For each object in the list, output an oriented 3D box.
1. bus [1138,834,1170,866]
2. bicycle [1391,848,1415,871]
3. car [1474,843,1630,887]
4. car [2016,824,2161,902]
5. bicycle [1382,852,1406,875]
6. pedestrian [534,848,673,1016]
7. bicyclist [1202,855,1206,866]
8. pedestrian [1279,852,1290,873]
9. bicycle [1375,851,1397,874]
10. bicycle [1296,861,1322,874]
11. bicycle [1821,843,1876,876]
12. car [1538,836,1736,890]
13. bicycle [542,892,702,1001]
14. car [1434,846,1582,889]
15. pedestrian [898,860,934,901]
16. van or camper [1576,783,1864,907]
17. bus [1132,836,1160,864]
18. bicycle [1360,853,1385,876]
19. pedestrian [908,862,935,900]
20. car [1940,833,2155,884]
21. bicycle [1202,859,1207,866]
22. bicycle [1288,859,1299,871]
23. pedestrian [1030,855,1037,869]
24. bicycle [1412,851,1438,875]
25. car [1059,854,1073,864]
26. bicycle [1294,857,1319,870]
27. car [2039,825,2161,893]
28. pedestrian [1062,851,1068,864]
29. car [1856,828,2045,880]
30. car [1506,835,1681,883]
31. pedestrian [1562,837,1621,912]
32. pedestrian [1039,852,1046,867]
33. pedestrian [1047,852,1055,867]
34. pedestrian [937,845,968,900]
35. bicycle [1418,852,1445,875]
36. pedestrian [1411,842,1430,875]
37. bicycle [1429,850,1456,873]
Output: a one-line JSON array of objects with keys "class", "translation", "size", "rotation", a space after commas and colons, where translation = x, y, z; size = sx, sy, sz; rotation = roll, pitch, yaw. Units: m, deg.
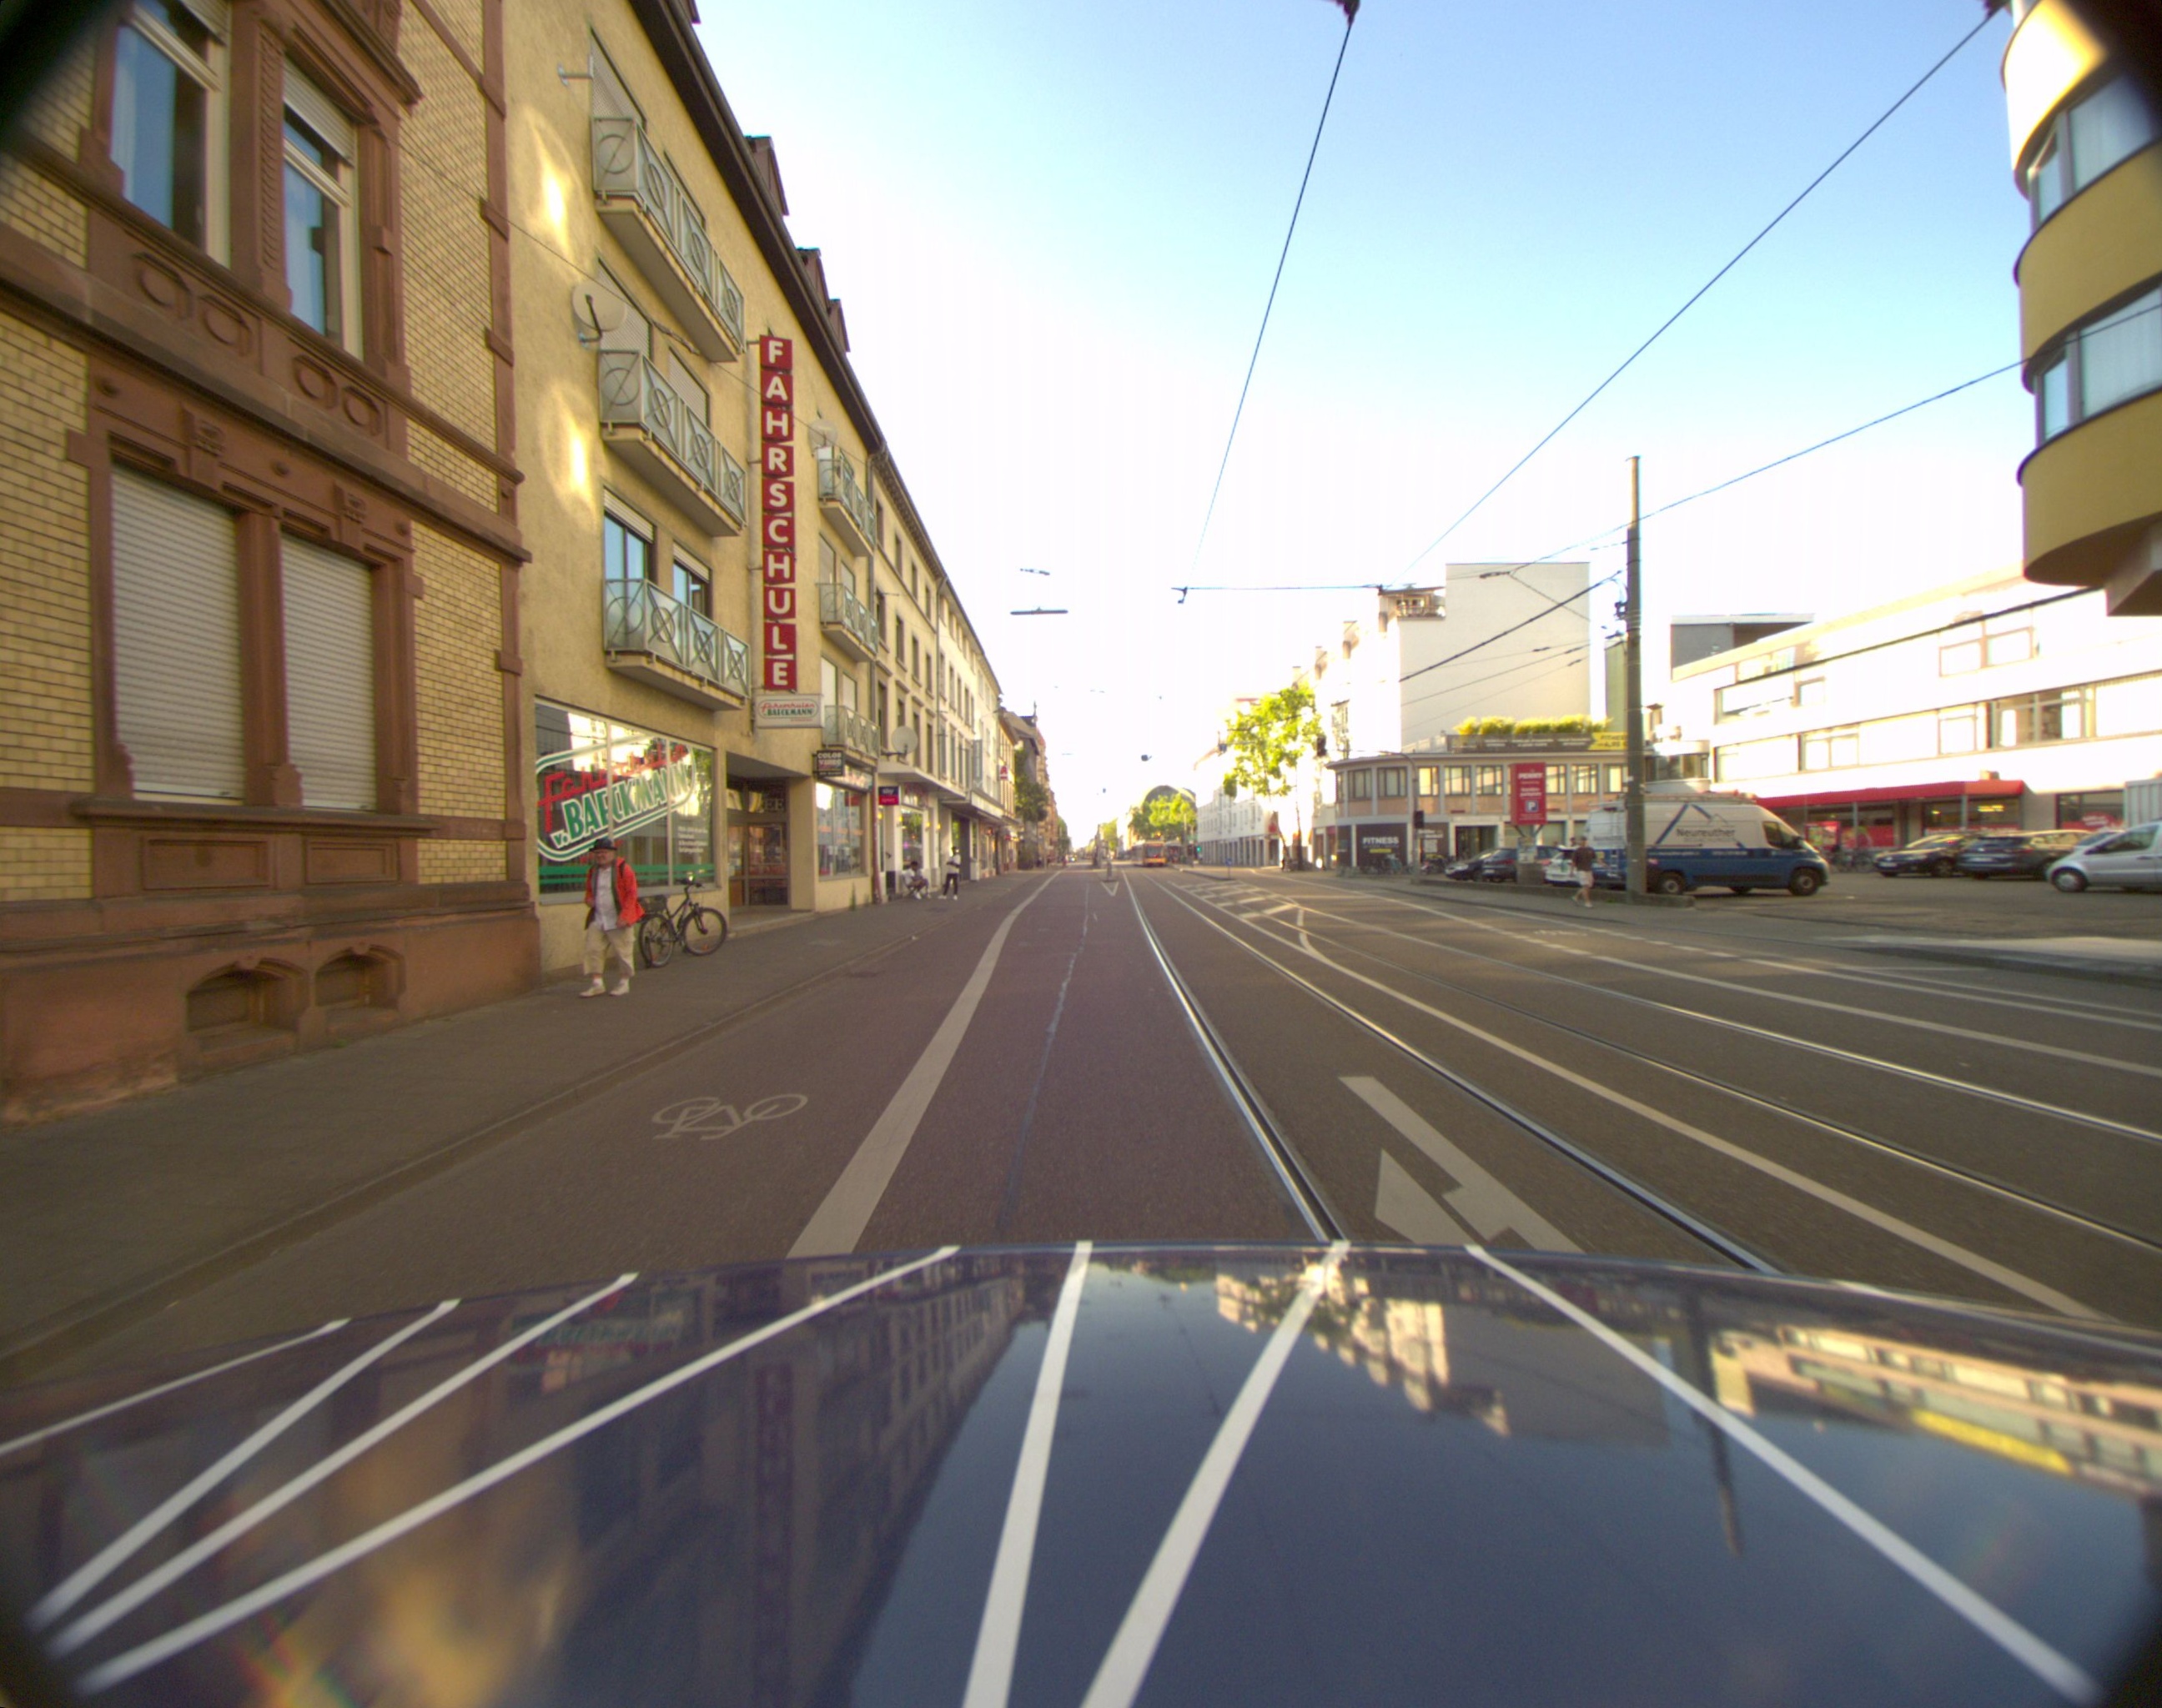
[{"class": "bus", "translation": [8.846, -0.479, 93.584], "size": [2.818, 3.547, 13.678], "rotation": [-1, 0, 1]}, {"class": "bicycle", "translation": [17.093, 0.270, 40.380], "size": [0.444, 1.180, 1.831], "rotation": [-1, 0, -2]}, {"class": "car", "translation": [17.350, 0.387, 28.133], "size": [4.600, 1.467, 1.879], "rotation": [-1, 0, 1]}, {"class": "car", "translation": [24.784, 0.181, 17.264], "size": [1.999, 1.726, 4.120], "rotation": [-1, 0, -1]}, {"class": "bicycle", "translation": [16.654, 0.483, 40.502], "size": [0.449, 1.180, 1.831], "rotation": [-1, 0, -2]}, {"class": "pedestrian", "translation": [-4.976, 0.786, 7.978], "size": [0.799, 1.618, 0.826], "rotation": [4, -1, 6]}, {"class": "bicyclist", "translation": [18.860, 0.945, 116.505], "size": [0.514, 1.690, 0.807], "rotation": [-3, 1, 1]}, {"class": "pedestrian", "translation": [16.252, 0.673, 60.655], "size": [0.630, 1.706, 0.826], "rotation": [-1, 1, 28]}, {"class": "bicycle", "translation": [16.184, 0.463, 40.360], "size": [0.441, 1.180, 1.831], "rotation": [-1, 0, 0]}, {"class": "bicycle", "translation": [17.594, 1.034, 58.656], "size": [1.849, 0.907, 0.389], "rotation": [-3, 1, 6]}, {"class": "bicycle", "translation": [29.063, 0.190, 28.811], "size": [0.432, 1.181, 1.832], "rotation": [-1, 1, 7]}, {"class": "car", "translation": [16.771, 0.267, 23.088], "size": [4.600, 1.467, 1.879], "rotation": [-1, 0, 1]}, {"class": "bicycle", "translation": [-5.569, 1.064, 9.415], "size": [0.556, 1.055, 2.311], "rotation": [1, 0, 1]}, {"class": "car", "translation": [17.270, 0.539, 30.882], "size": [4.906, 1.574, 1.879], "rotation": [-1, 0, 1]}, {"class": "pedestrian", "translation": [-5.357, 0.861, 24.687], "size": [0.832, 1.248, 0.705], "rotation": [4, 0, -35]}, {"class": "van or camper", "translation": [16.990, -0.226, 20.472], "size": [5.620, 2.810, 2.315], "rotation": [-4, 0, 1]}, {"class": "bus", "translation": [9.040, -0.552, 106.791], "size": [2.818, 3.547, 13.677], "rotation": [-1, 0, 1]}, {"class": "bicycle", "translation": [15.679, 0.574, 40.863], "size": [0.447, 1.180, 1.830], "rotation": [-1, 0, -6]}, {"class": "pedestrian", "translation": [-5.416, 0.906, 25.715], "size": [0.708, 1.168, 1.014], "rotation": [4, 0, -19]}, {"class": "car", "translation": [28.790, 0.123, 22.735], "size": [3.998, 1.346, 1.999], "rotation": [-2, 1, -2]}, {"class": "bicycle", "translation": [18.987, 1.328, 116.556], "size": [0.518, 0.983, 1.727], "rotation": [-3, 1, 1]}, {"class": "bicycle", "translation": [16.746, 0.868, 59.900], "size": [0.389, 0.907, 1.851], "rotation": [-3, 1, 1]}, {"class": "pedestrian", "translation": [-5.445, 0.898, 87.309], "size": [0.651, 1.569, 0.682], "rotation": [-2, 1, -6]}, {"class": "bicycle", "translation": [17.723, 0.462, 39.167], "size": [0.449, 1.180, 1.831], "rotation": [-1, 0, -2]}, {"class": "car", "translation": [-2.228, 0.738, 112.107], "size": [1.969, 1.302, 4.000], "rotation": [-1, 0, 1]}, {"class": "bicycle", "translation": [17.769, 0.748, 59.940], "size": [1.849, 0.907, 0.390], "rotation": [-3, -2, 6]}, {"class": "car", "translation": [28.834, 0.088, 20.336], "size": [3.998, 1.691, 1.999], "rotation": [-2, 1, -2]}, {"class": "pedestrian", "translation": [-2.241, 0.449, 104.580], "size": [0.694, 1.760, 0.697], "rotation": [-1, 1, 5]}, {"class": "car", "translation": [28.434, -0.012, 24.948], "size": [3.998, 1.499, 1.999], "rotation": [-2, 1, -2]}, {"class": "car", "translation": [17.242, 0.182, 25.722], "size": [4.600, 1.467, 1.879], "rotation": [-1, 0, 1]}, {"class": "pedestrian", "translation": [12.804, 0.502, 19.086], "size": [0.835, 1.822, 0.909], "rotation": [-1, 0, 0]}, {"class": "pedestrian", "translation": [-4.717, 0.673, 92.922], "size": [0.650, 1.760, 0.697], "rotation": [-1, 1, 5]}, {"class": "pedestrian", "translation": [-3.587, 0.613, 91.328], "size": [0.807, 1.789, 0.761], "rotation": [-1, 1, 1]}, {"class": "pedestrian", "translation": [-4.422, 0.636, 26.203], "size": [0.705, 1.801, 0.680], "rotation": [4, 0, 16]}, {"class": "bicycle", "translation": [18.116, 0.480, 39.299], "size": [0.449, 1.180, 1.831], "rotation": [-1, 0, -2]}, {"class": "pedestrian", "translation": [17.583, 0.232, 39.368], "size": [0.682, 1.687, 0.683], "rotation": [-1, 0, -2]}, {"class": "bicycle", "translation": [18.878, 0.395, 39.752], "size": [0.449, 1.180, 1.831], "rotation": [-1, 0, -2]}]
